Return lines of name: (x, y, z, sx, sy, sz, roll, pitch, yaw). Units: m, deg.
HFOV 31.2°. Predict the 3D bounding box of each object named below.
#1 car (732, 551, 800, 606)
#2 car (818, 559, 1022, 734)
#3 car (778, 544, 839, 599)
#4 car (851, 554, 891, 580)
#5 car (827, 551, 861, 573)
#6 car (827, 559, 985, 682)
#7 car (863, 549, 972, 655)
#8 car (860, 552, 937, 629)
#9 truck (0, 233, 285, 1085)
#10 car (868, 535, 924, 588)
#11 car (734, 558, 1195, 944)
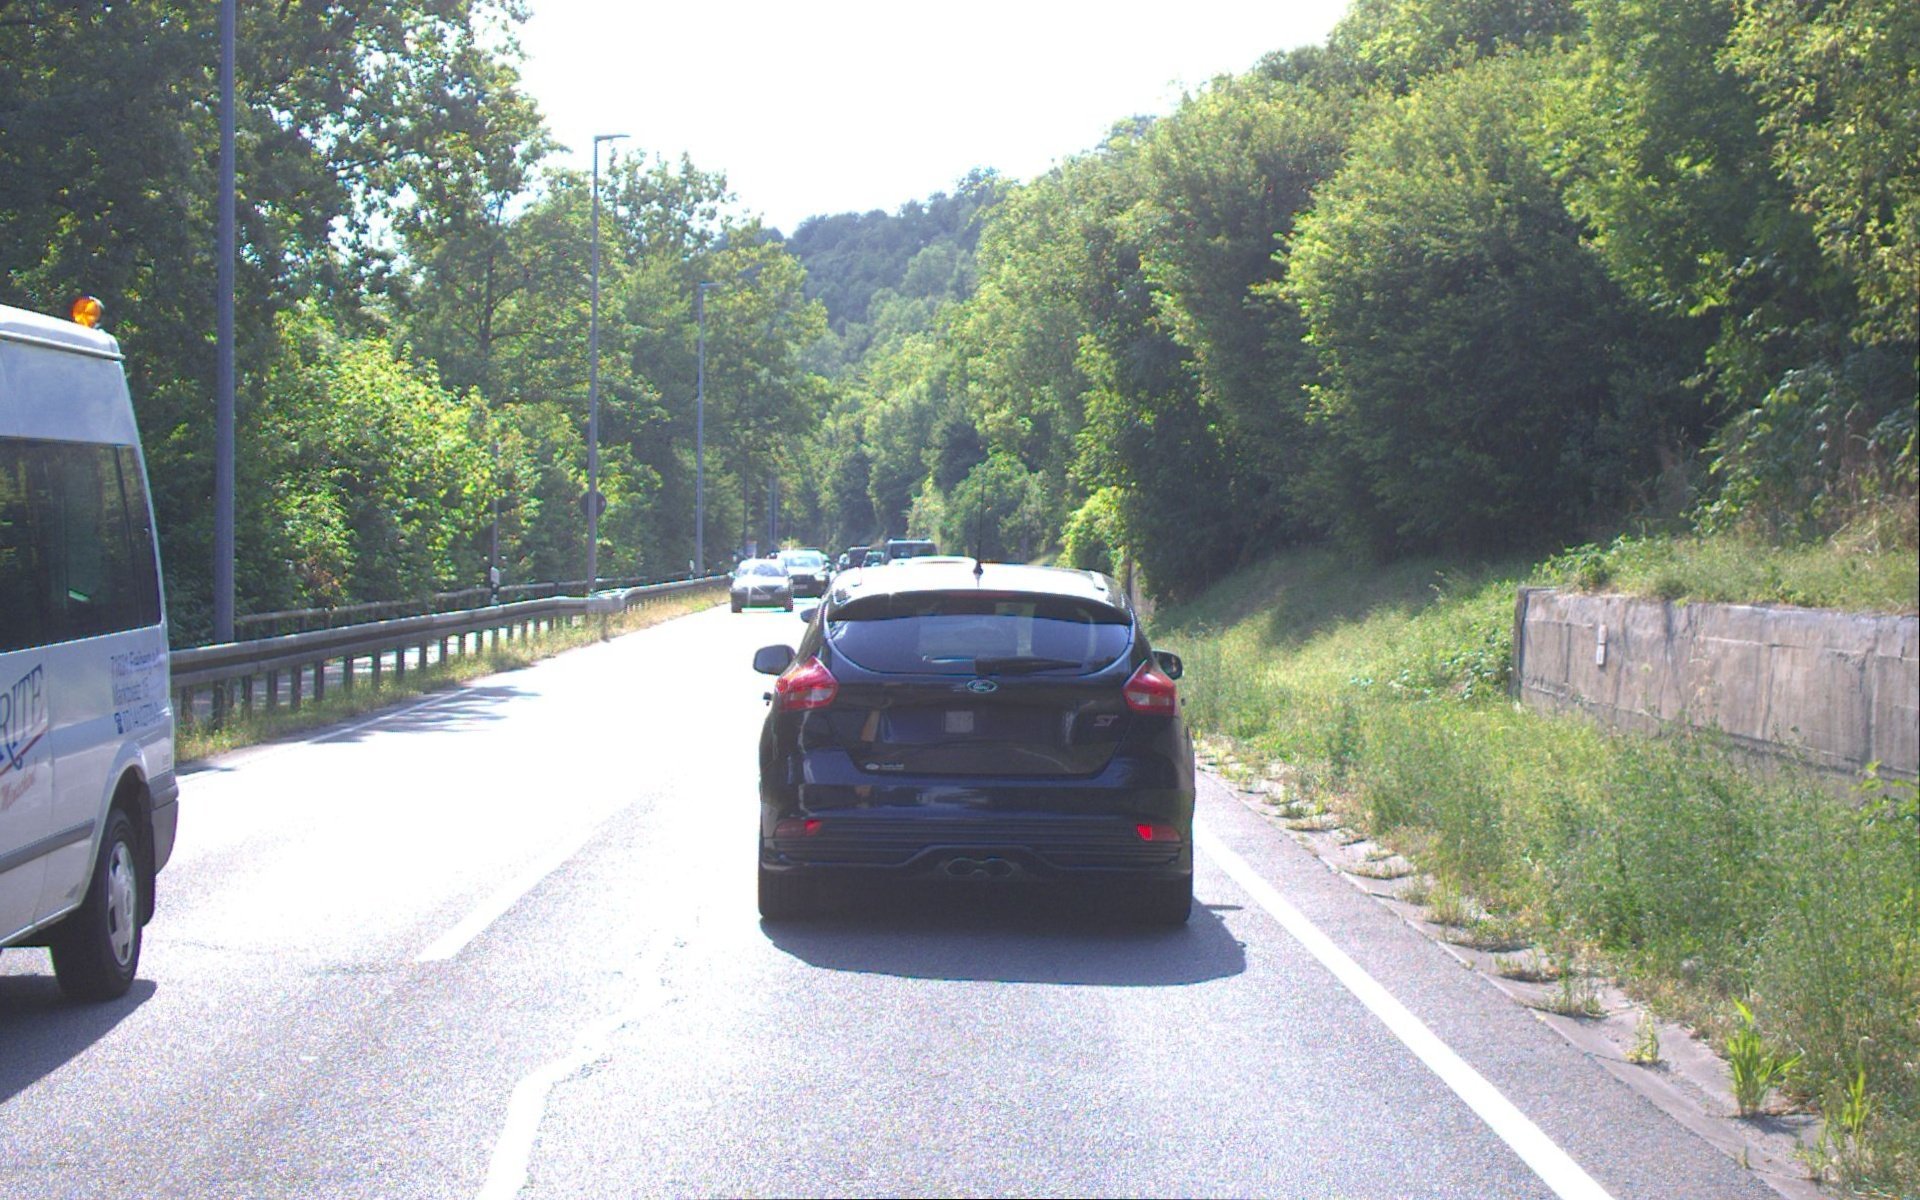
car: (-5.302, -0.612, 94.304, 1.681, 1.437, 4.000, -1, 1, -1)
car: (-0.298, 0.359, 30.120, 1.661, 1.413, 4.000, 0, 1, 1)
car: (-4.815, -0.932, 109.617, 1.748, 1.712, 4.221, 0, 1, 0)
car: (-5.426, -2.023, 208.405, 1.993, 1.514, 4.001, 0, 1, -8)
car: (-8.178, -2.663, 242.343, 1.993, 1.514, 4.001, 0, 1, -8)
car: (-0.645, 0.217, 41.446, 1.804, 1.387, 4.000, 0, 1, -1)
car: (-0.667, 0.001, 53.883, 1.631, 1.590, 4.000, 0, 1, -1)
car: (-1.317, -0.225, 74.387, 1.631, 1.590, 4.000, 0, 1, -1)
truck: (-3.755, 0.141, 11.292, 2.057, 2.377, 5.874, 0, 1, -2)
car: (-2.170, -1.332, 117.611, 1.863, 1.774, 4.000, 0, 1, -1)
car: (-0.005, 0.561, 15.174, 1.739, 1.451, 4.000, 1, 1, -1)
